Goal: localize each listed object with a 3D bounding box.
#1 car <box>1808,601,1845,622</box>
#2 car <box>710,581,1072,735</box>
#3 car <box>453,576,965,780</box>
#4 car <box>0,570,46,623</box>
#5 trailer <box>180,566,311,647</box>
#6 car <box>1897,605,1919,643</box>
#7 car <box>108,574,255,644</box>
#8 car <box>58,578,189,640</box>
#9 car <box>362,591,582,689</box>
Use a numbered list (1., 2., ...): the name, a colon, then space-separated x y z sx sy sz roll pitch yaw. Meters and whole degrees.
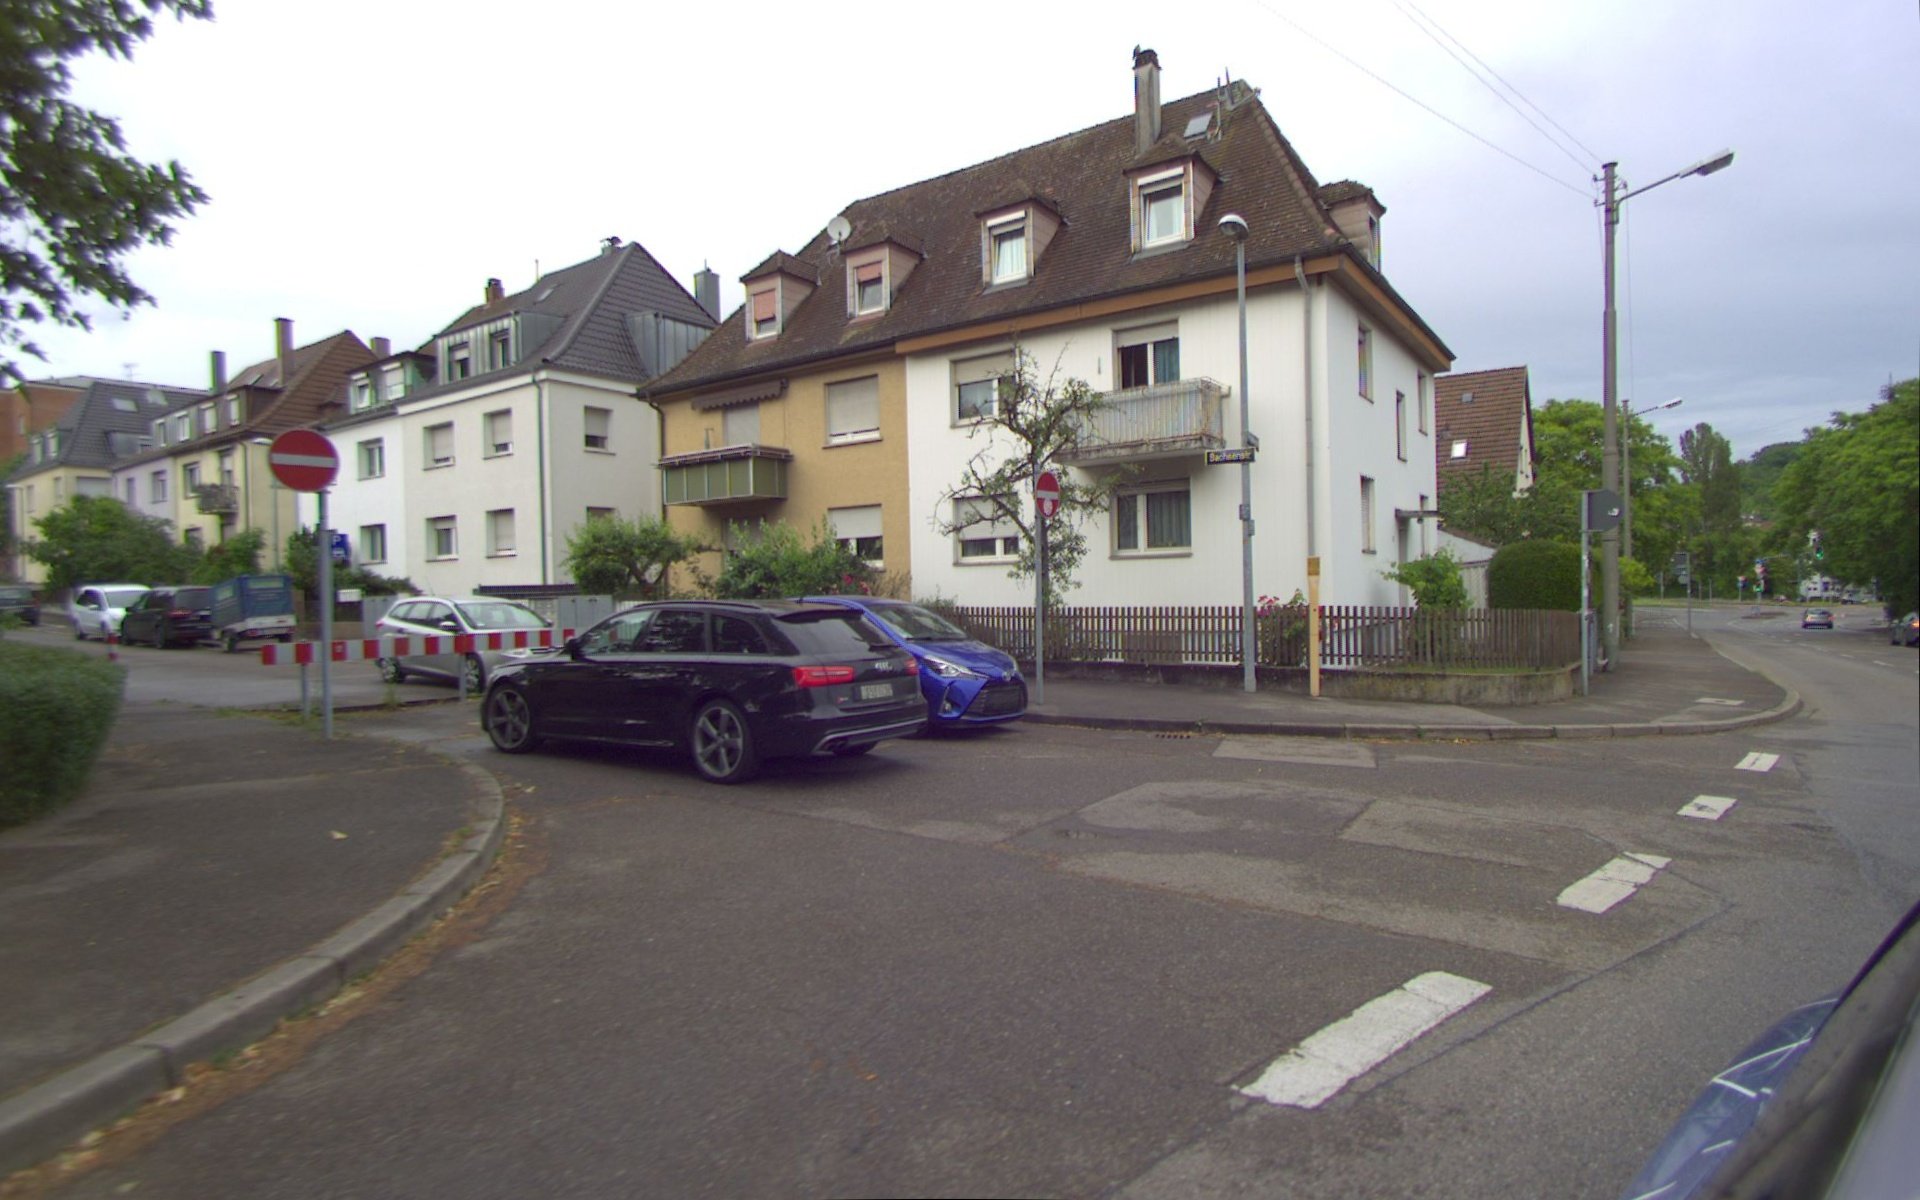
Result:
1. car: 62.471 0.826 73.004 1.663 1.487 3.733 0 0 35
2. car: -0.914 0.557 12.003 4.104 1.499 1.860 1 0 38
3. car: -2.478 0.554 9.548 4.779 1.499 1.865 1 0 31
4. car: -38.566 -0.111 40.416 3.965 2.039 1.979 0 0 30
5. trailer: -19.165 0.155 27.135 3.464 2.039 1.653 0 0 32
6. car: 39.875 1.011 41.034 1.986 1.462 4.715 1 -2 34
7. car: -22.559 0.231 29.290 4.546 1.862 1.976 0 0 33
8. car: -26.847 0.255 32.450 4.546 1.862 1.976 0 0 33
9. car: -8.242 0.611 17.010 3.760 1.472 1.749 0 -1 35
